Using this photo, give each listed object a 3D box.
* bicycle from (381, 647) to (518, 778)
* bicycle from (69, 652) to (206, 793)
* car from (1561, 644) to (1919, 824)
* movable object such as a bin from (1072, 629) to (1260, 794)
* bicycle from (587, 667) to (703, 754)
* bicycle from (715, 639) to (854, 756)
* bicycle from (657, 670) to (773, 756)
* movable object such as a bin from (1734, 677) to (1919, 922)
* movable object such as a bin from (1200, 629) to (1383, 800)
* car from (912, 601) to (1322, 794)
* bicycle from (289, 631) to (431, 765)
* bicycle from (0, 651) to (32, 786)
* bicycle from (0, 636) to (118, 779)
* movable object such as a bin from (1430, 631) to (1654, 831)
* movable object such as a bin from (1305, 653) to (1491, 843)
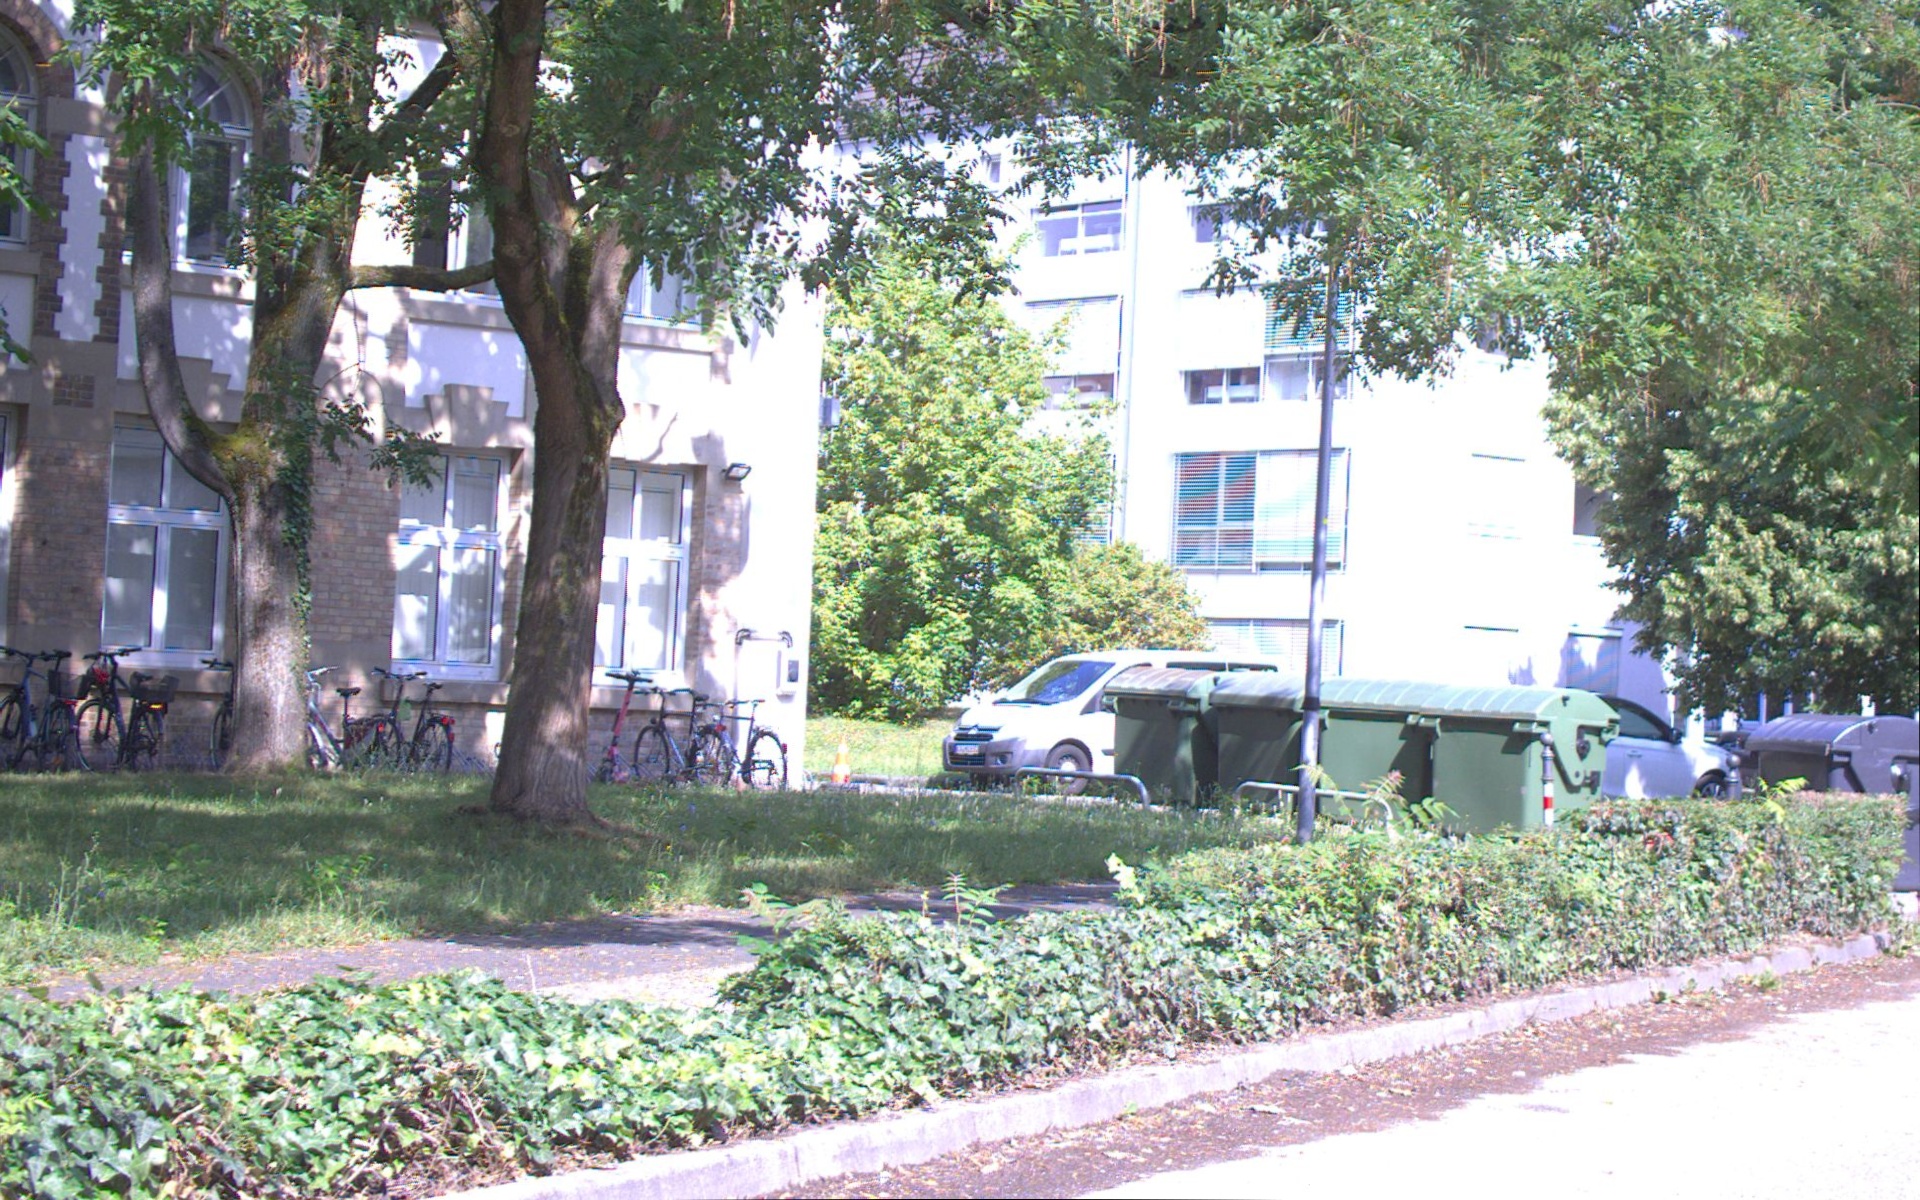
[{"bbox_3d":[-4.703,1.016,31.545,0.418,1.052,2.067,-3,3,-32],"label":"bicycle"},{"bbox_3d":[-7.148,1.043,29.822,0.418,1.052,2.067,-7,6,-32],"label":"bicycle"},{"bbox_3d":[8.559,1.406,37.264,3.905,1.415,1.758,-7,5,-36],"label":"car"},{"bbox_3d":[1.833,0.972,30.656,0.944,1.344,1.381,-4,4,-42],"label":"movable object such as a bin"},{"bbox_3d":[-3.003,1.040,32.638,0.319,0.703,1.860,4,0,-30],"label":"bicycle"},{"bbox_3d":[-1.704,0.926,33.133,0.319,1.033,1.859,-3,3,-37],"label":"bicycle"},{"bbox_3d":[-2.368,1.075,33.043,0.319,0.703,1.860,-3,3,-30],"label":"bicycle"},{"bbox_3d":[6.301,1.368,24.025,1.245,1.476,1.297,-2,6,-16],"label":"movable object such as a bin"},{"bbox_3d":[2.852,0.969,29.614,0.944,1.344,1.233,-4,4,-42],"label":"movable object such as a bin"},{"bbox_3d":[2.059,1.212,44.328,4.940,1.957,2.000,-6,2,-34],"label":"car"},{"bbox_3d":[-5.436,0.867,31.075,0.418,1.052,2.067,-7,6,-32],"label":"bicycle"},{"bbox_3d":[-8.358,0.951,28.856,0.418,1.052,2.067,-7,6,-32],"label":"bicycle"},{"bbox_3d":[-7.758,0.893,29.254,0.418,1.052,2.067,-7,6,-32],"label":"bicycle"},{"bbox_3d":[4.623,1.019,27.328,1.100,1.446,1.342,-4,4,-42],"label":"movable object such as a bin"},{"bbox_3d":[3.622,1.206,28.460,0.878,1.446,1.233,-4,4,-42],"label":"movable object such as a bin"}]
